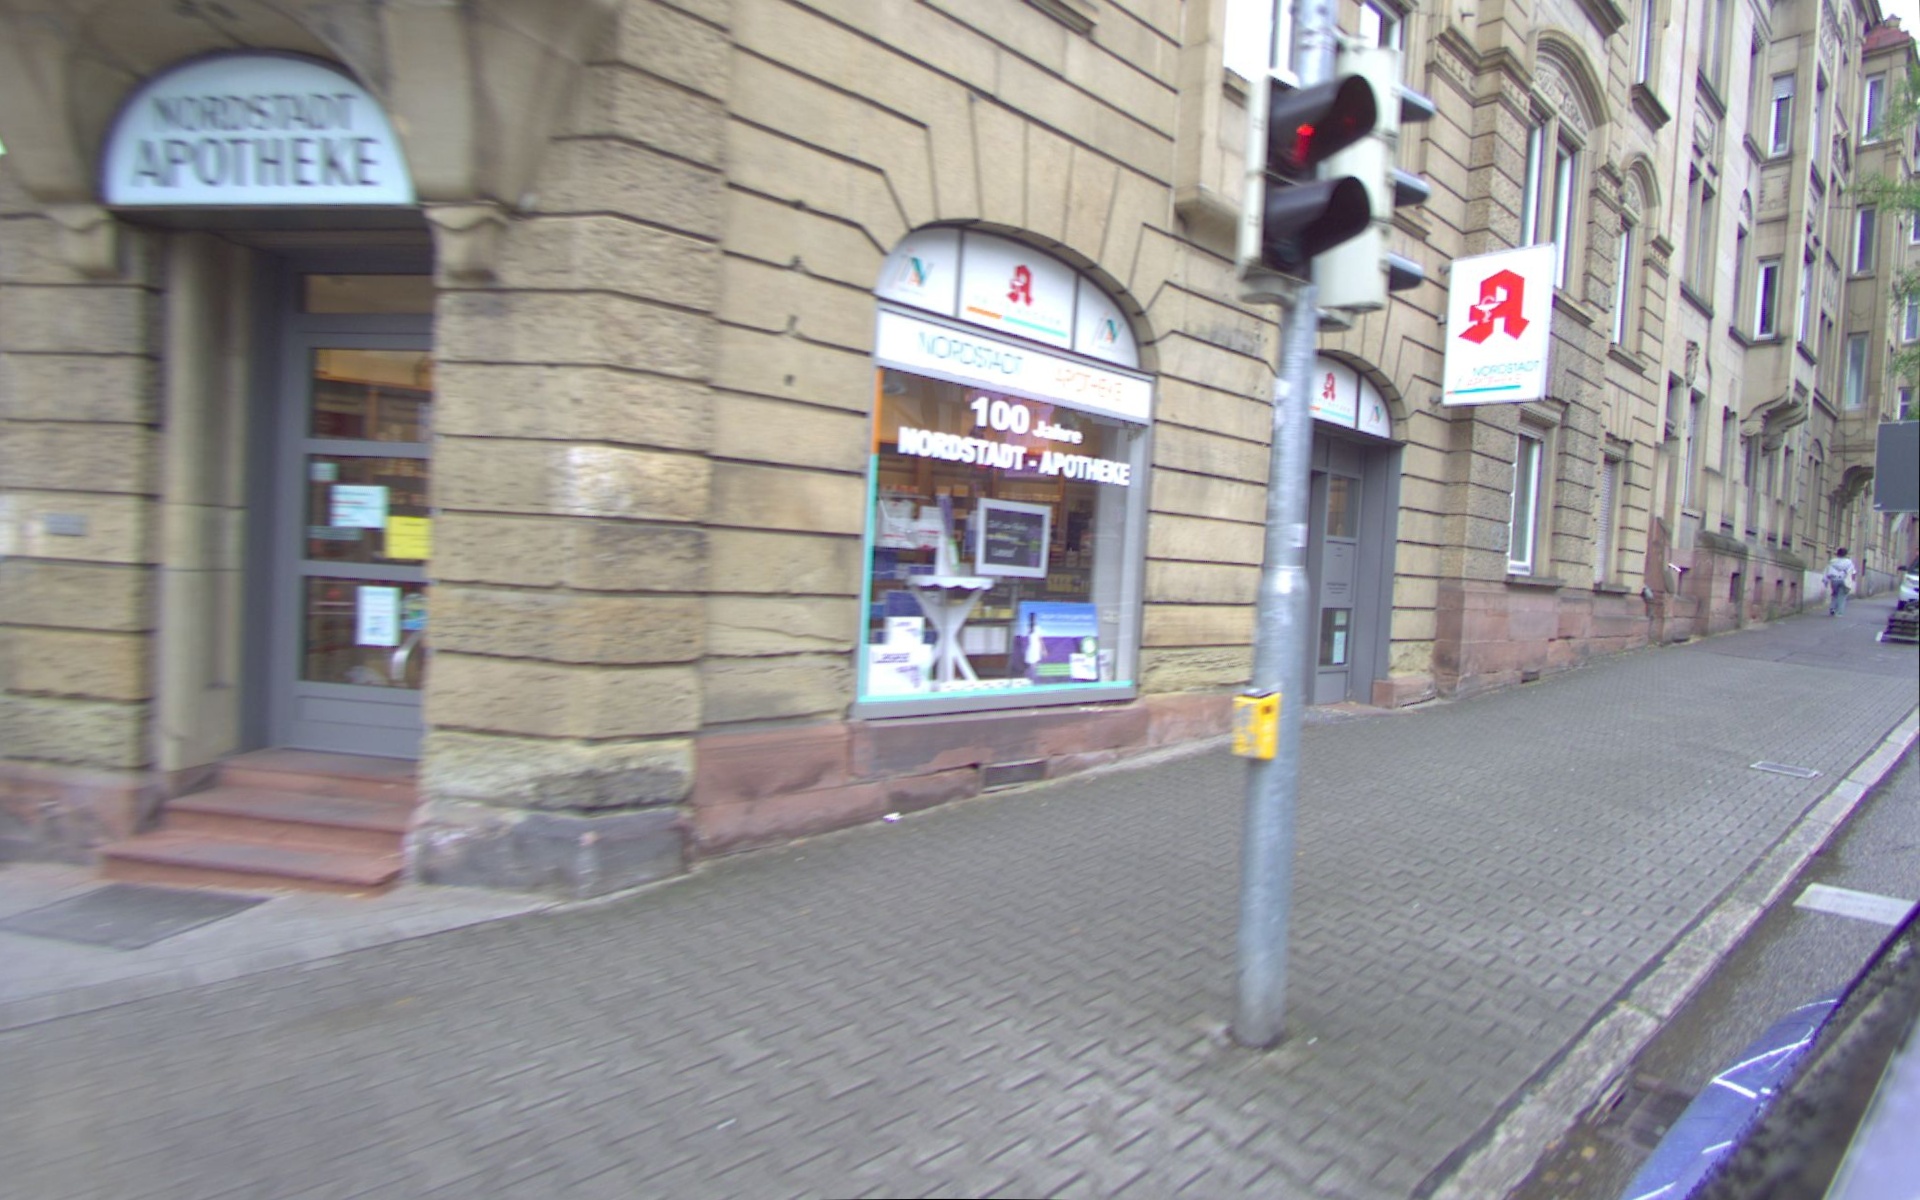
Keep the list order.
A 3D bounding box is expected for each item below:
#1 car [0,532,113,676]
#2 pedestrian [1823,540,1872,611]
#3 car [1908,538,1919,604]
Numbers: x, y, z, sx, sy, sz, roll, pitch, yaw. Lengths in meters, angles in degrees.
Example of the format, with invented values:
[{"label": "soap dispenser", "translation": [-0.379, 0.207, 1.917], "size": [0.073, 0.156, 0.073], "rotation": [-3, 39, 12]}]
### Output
[{"label": "car", "translation": [-14.237, 0.003, 15.078], "size": [1.805, 1.924, 4.182], "rotation": [1, 0, -31]}, {"label": "pedestrian", "translation": [20.106, -0.564, 22.920], "size": [0.679, 1.513, 0.644], "rotation": [-6, 9, -42]}, {"label": "car", "translation": [25.694, -0.695, 26.011], "size": [3.434, 1.636, 1.526], "rotation": [-2, 8, -42]}]
